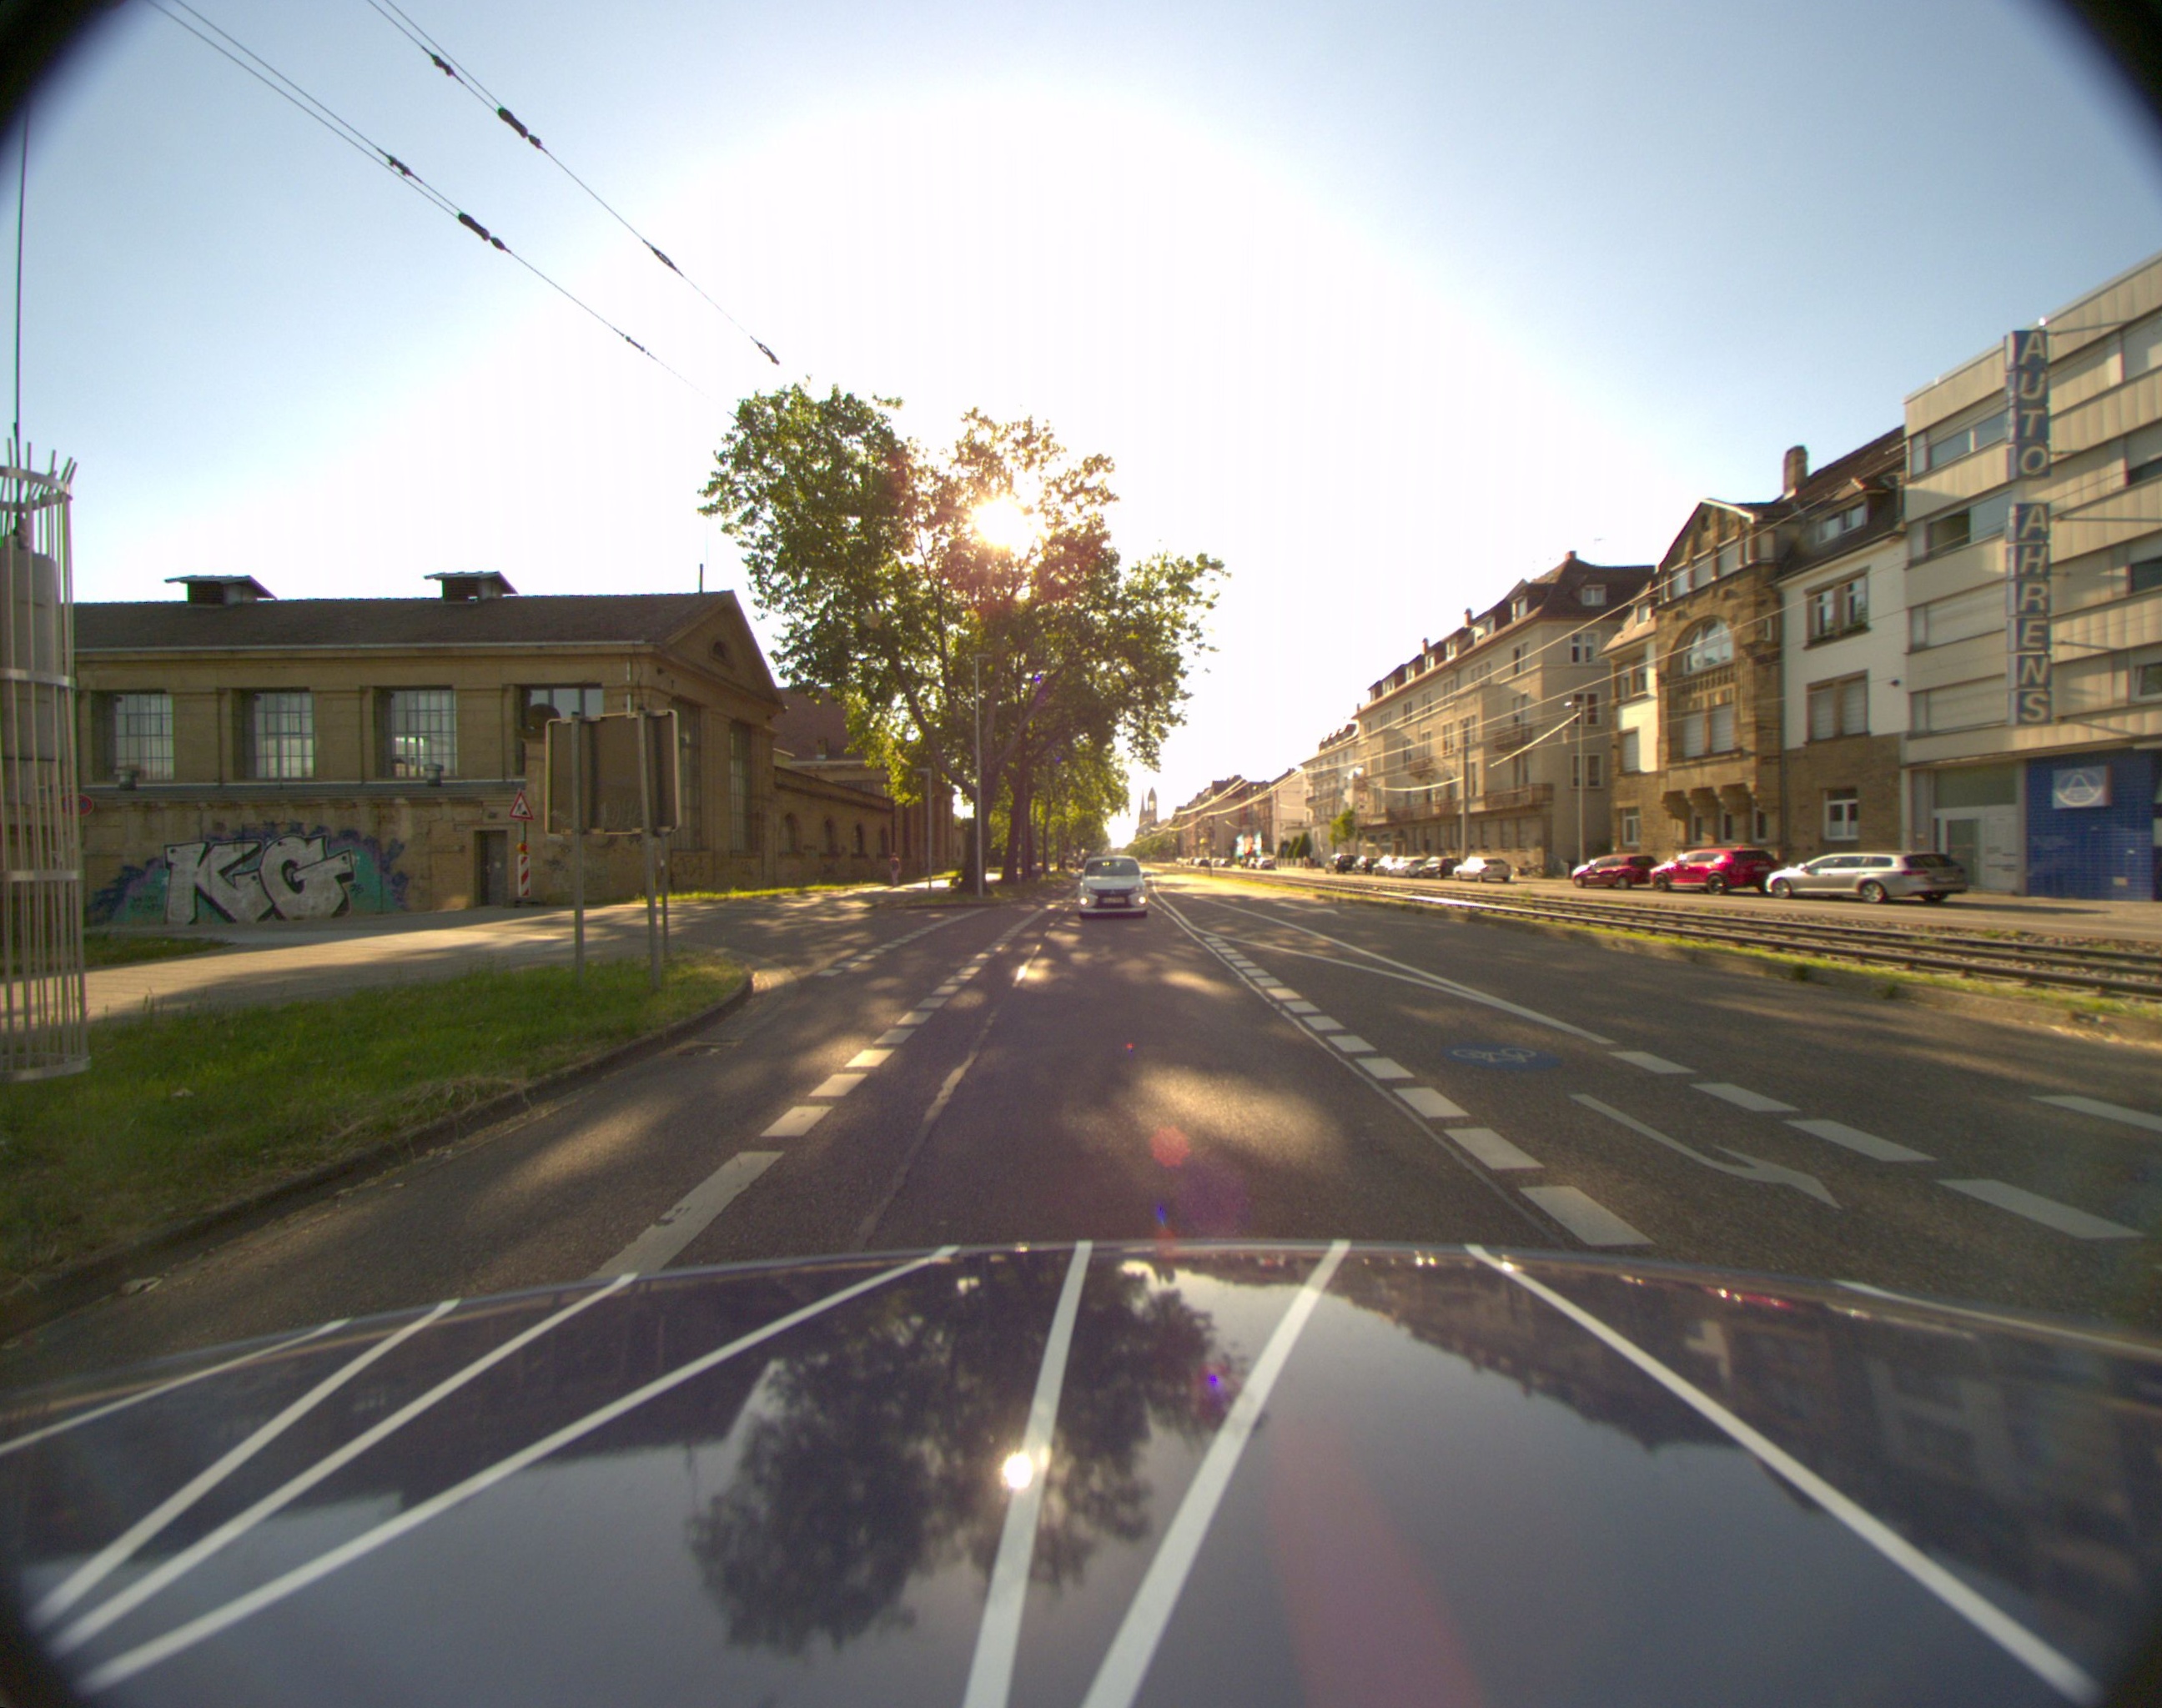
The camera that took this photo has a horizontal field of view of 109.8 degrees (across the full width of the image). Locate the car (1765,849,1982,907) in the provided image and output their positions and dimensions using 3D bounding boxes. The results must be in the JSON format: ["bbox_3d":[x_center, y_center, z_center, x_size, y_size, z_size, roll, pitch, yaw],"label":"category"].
[{"bbox_3d":[23.298,0.649,22.625,1.860,1.490,4.382,-3,0,0],"label":"car"}]

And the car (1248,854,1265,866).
[{"bbox_3d":[24.931,0.801,107.961,1.684,1.562,3.388,-2,0,1],"label":"car"}]

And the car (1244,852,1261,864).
[{"bbox_3d":[25.487,0.582,113.083,1.727,1.776,3.881,-2,0,1],"label":"car"}]

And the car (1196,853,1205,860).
[{"bbox_3d":[27.061,0.578,172.279,1.624,1.581,3.450,-2,0,1],"label":"car"}]

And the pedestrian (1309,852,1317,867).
[{"bbox_3d":[27.853,0.651,91.150,0.725,1.779,0.678,0,0,1],"label":"pedestrian"}]

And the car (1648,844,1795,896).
[{"bbox_3d":[23.366,0.561,27.979,1.860,1.677,4.263,-3,0,2],"label":"car"}]

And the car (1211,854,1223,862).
[{"bbox_3d":[25.515,0.752,142.705,1.624,1.581,3.450,-2,0,1],"label":"car"}]

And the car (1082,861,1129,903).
[{"bbox_3d":[0.936,1.052,29.838,1.686,1.462,4.055,-1,0,1],"label":"car"}]

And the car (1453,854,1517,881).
[{"bbox_3d":[23.827,0.761,44.990,1.802,1.470,3.823,-2,0,2],"label":"car"}]

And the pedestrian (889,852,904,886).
[{"bbox_3d":[-9.169,0.735,37.755,0.672,1.652,0.873,0,0,-11],"label":"pedestrian"}]

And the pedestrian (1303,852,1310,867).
[{"bbox_3d":[27.120,0.658,91.367,0.725,1.779,0.678,0,0,1],"label":"pedestrian"}]

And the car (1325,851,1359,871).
[{"bbox_3d":[24.249,0.639,70.779,1.875,1.726,3.916,-2,0,2],"label":"car"}]

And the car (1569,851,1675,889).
[{"bbox_3d":[23.515,0.676,33.193,1.756,1.487,3.729,-3,0,-5],"label":"car"}]

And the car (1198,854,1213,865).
[{"bbox_3d":[20.503,0.898,125.303,1.822,1.674,4.000,-1,0,2],"label":"car"}]

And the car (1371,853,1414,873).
[{"bbox_3d":[24.322,0.679,59.415,1.802,1.470,3.823,-2,0,2],"label":"car"}]

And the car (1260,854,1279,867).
[{"bbox_3d":[24.168,0.791,97.513,1.677,1.622,3.408,-2,0,2],"label":"car"}]

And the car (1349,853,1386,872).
[{"bbox_3d":[24.546,0.716,65.253,1.802,1.470,3.823,-2,0,2],"label":"car"}]

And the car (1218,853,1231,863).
[{"bbox_3d":[25.229,0.662,133.546,1.624,1.581,3.450,-2,0,1],"label":"car"}]

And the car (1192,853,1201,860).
[{"bbox_3d":[27.026,0.587,177.576,1.624,1.581,3.450,-2,0,1],"label":"car"}]

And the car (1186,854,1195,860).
[{"bbox_3d":[26.619,0.745,185.248,1.624,1.581,3.450,-2,0,1],"label":"car"}]

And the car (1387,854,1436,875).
[{"bbox_3d":[23.669,0.743,54.488,1.642,1.438,3.538,-2,0,-6],"label":"car"}]

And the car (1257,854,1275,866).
[{"bbox_3d":[24.981,0.768,102.659,1.684,1.562,3.388,-2,0,1],"label":"car"}]

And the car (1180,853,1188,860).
[{"bbox_3d":[26.647,0.690,195.804,1.624,1.581,3.450,-2,0,1],"label":"car"}]

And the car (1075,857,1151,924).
[{"bbox_3d":[0.773,0.840,19.162,1.686,1.462,4.055,-1,0,1],"label":"car"}]

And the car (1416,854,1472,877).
[{"bbox_3d":[23.980,0.723,50.335,1.802,1.422,3.823,-2,0,-1],"label":"car"}]

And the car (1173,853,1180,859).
[{"bbox_3d":[28.068,0.533,222.899,1.624,1.581,3.450,-2,0,1],"label":"car"}]
